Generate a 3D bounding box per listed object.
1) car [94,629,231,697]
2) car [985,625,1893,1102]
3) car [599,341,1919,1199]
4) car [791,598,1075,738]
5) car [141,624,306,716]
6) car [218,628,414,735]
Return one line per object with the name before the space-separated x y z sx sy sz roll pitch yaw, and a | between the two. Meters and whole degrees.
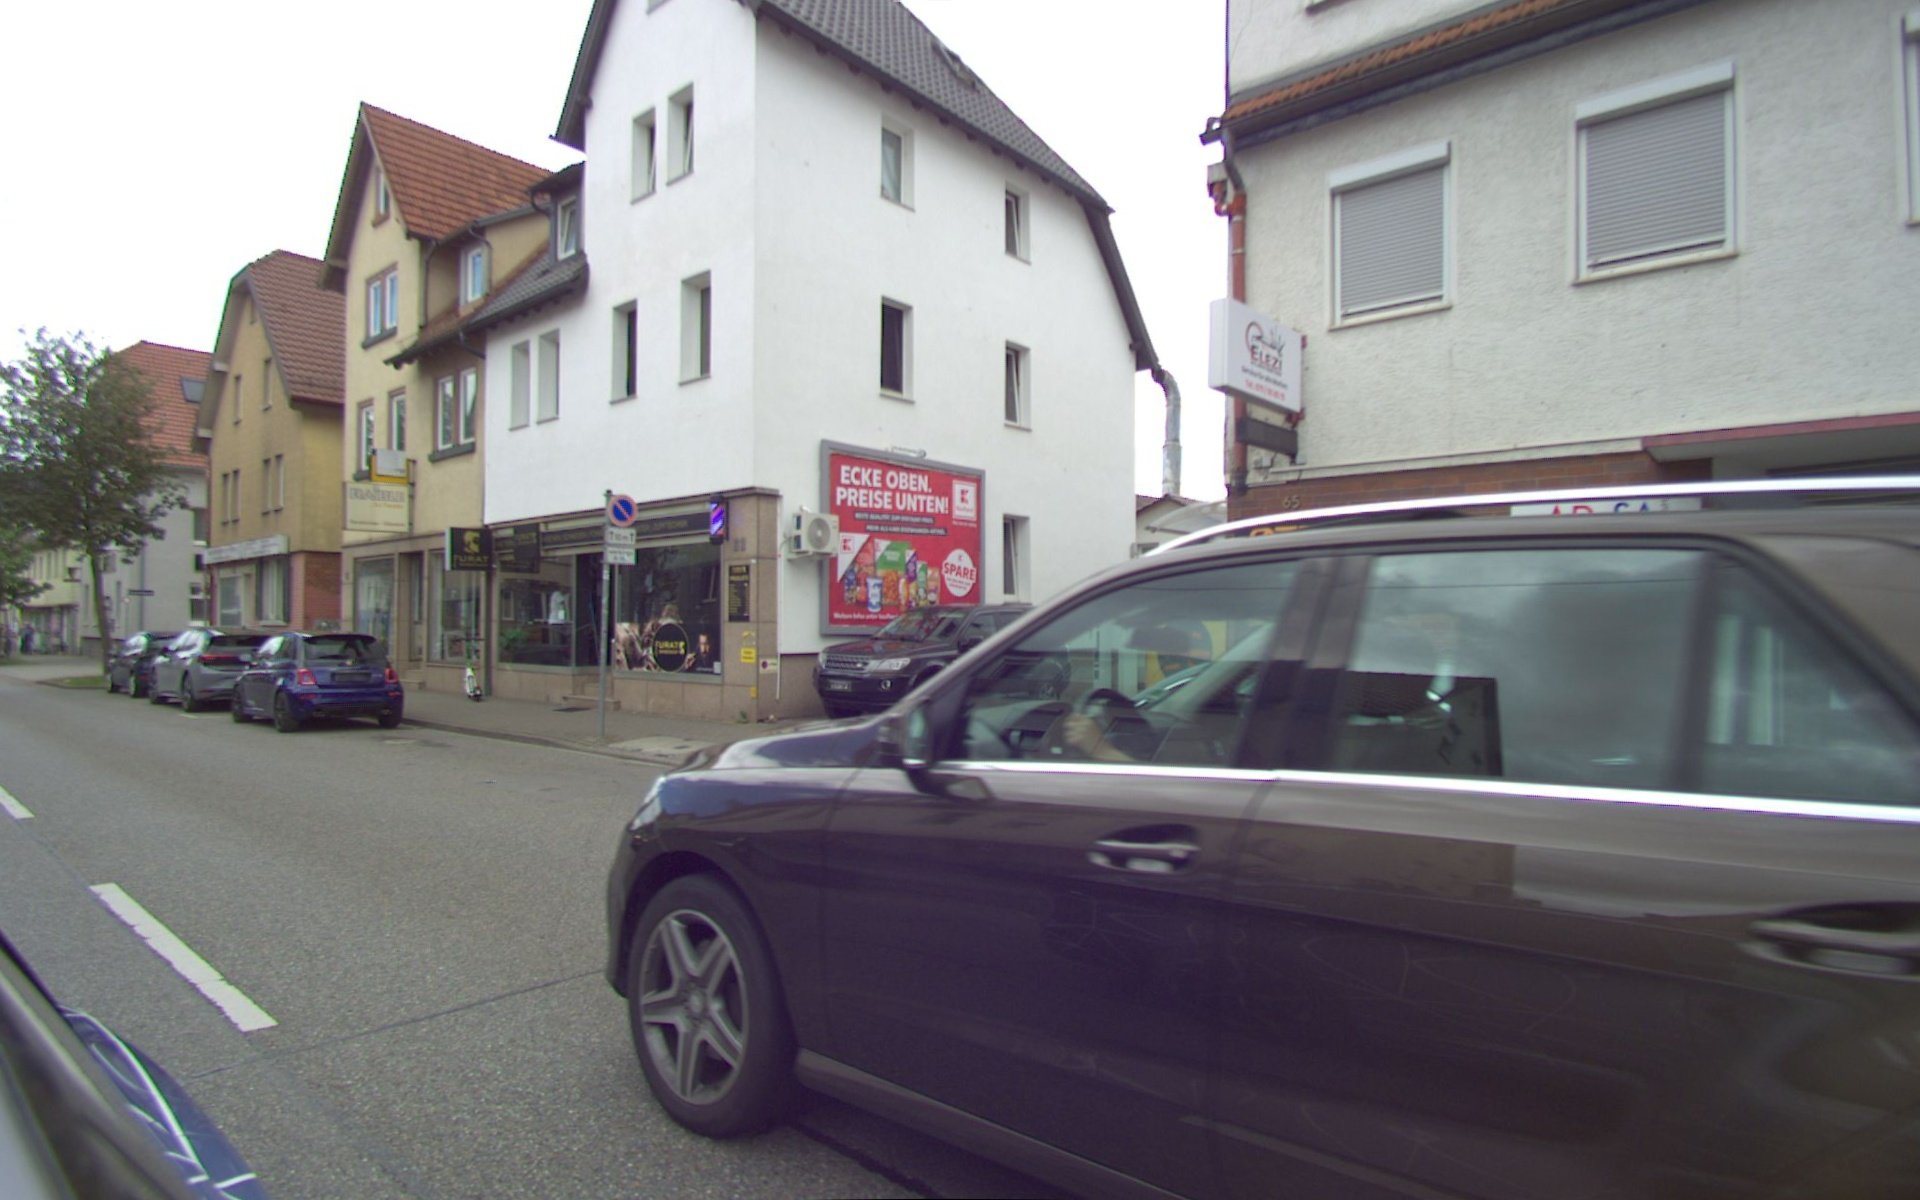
car | -18.274 1.394 23.134 3.928 1.435 1.665 -1 -3 40
car | 2.103 0.906 5.126 3.773 1.511 1.664 -1 -3 42
car | 1.128 0.619 2.450 4.364 1.751 1.880 -1 -3 42
car | -0.267 0.846 14.574 1.998 1.715 3.947 -1 -1 39
car | -14.265 1.281 19.516 4.112 1.578 1.692 -1 -3 42
car | -10.226 1.208 15.985 3.590 1.505 1.664 -1 -3 42
